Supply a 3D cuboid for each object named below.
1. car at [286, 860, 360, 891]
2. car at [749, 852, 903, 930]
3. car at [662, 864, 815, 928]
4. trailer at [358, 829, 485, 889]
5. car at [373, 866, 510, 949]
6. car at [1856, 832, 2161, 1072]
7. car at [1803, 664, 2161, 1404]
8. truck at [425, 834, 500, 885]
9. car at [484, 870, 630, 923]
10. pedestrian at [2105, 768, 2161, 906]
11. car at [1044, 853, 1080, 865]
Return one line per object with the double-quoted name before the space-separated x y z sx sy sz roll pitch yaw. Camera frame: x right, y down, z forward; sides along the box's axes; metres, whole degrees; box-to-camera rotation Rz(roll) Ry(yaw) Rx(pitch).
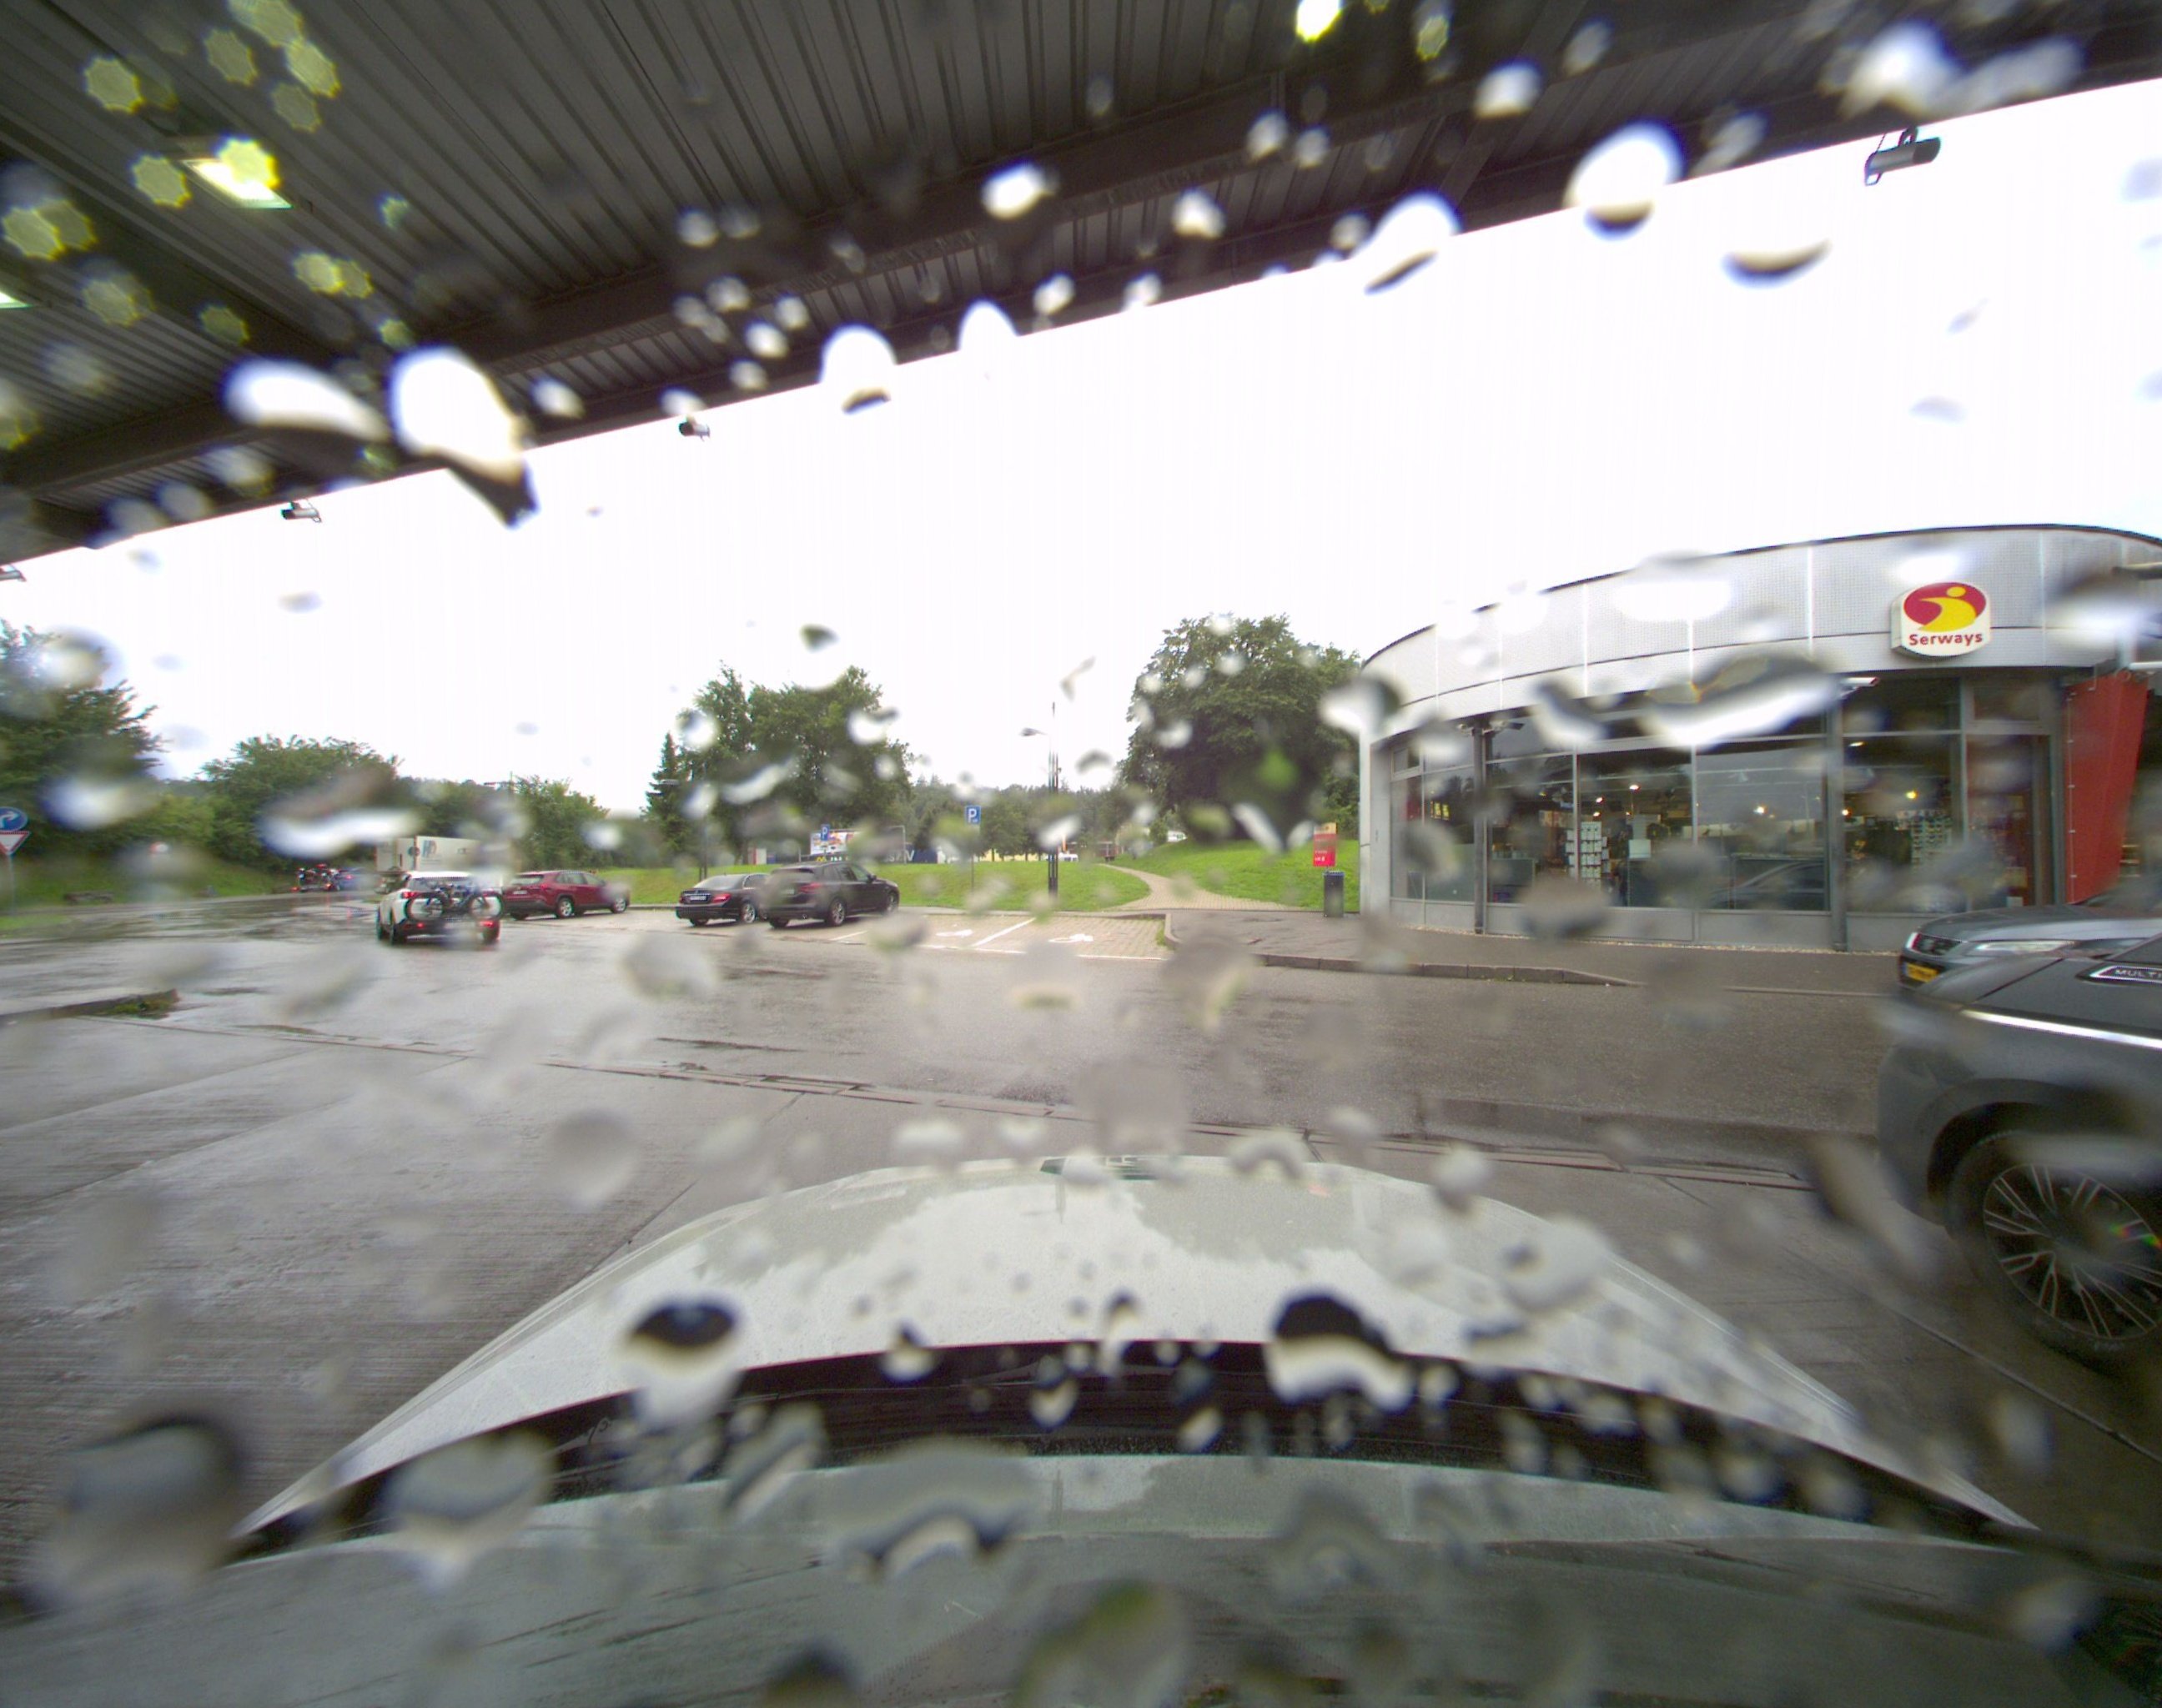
"car" -49.184 1.347 52.952 1.934 1.838 4.361 -1 0 -20
"car" -6.618 0.890 21.723 1.871 1.828 4.429 -2 0 13
"car" -9.619 1.140 23.280 1.871 1.565 4.200 -2 0 13
"trailer" -54.889 0.432 68.462 3.466 4.557 13.827 0 -1 -18
"car" -14.324 1.071 18.127 1.831 1.565 4.942 0 0 -45
"car" 8.694 0.625 5.753 4.274 1.587 1.901 -1 0 23
"car" 3.715 0.468 1.213 1.809 1.948 4.002 -1 0 2
"truck" -57.111 0.506 75.402 3.467 4.557 6.694 0 -1 -18
"car" -18.160 1.419 28.504 1.873 1.596 4.364 -2 0 8
"pedestrian" 15.075 -0.239 11.194 0.989 1.864 0.804 -2 0 30
"car" -3.185 0.813 134.060 5.376 2.013 2.468 -1 0 21
